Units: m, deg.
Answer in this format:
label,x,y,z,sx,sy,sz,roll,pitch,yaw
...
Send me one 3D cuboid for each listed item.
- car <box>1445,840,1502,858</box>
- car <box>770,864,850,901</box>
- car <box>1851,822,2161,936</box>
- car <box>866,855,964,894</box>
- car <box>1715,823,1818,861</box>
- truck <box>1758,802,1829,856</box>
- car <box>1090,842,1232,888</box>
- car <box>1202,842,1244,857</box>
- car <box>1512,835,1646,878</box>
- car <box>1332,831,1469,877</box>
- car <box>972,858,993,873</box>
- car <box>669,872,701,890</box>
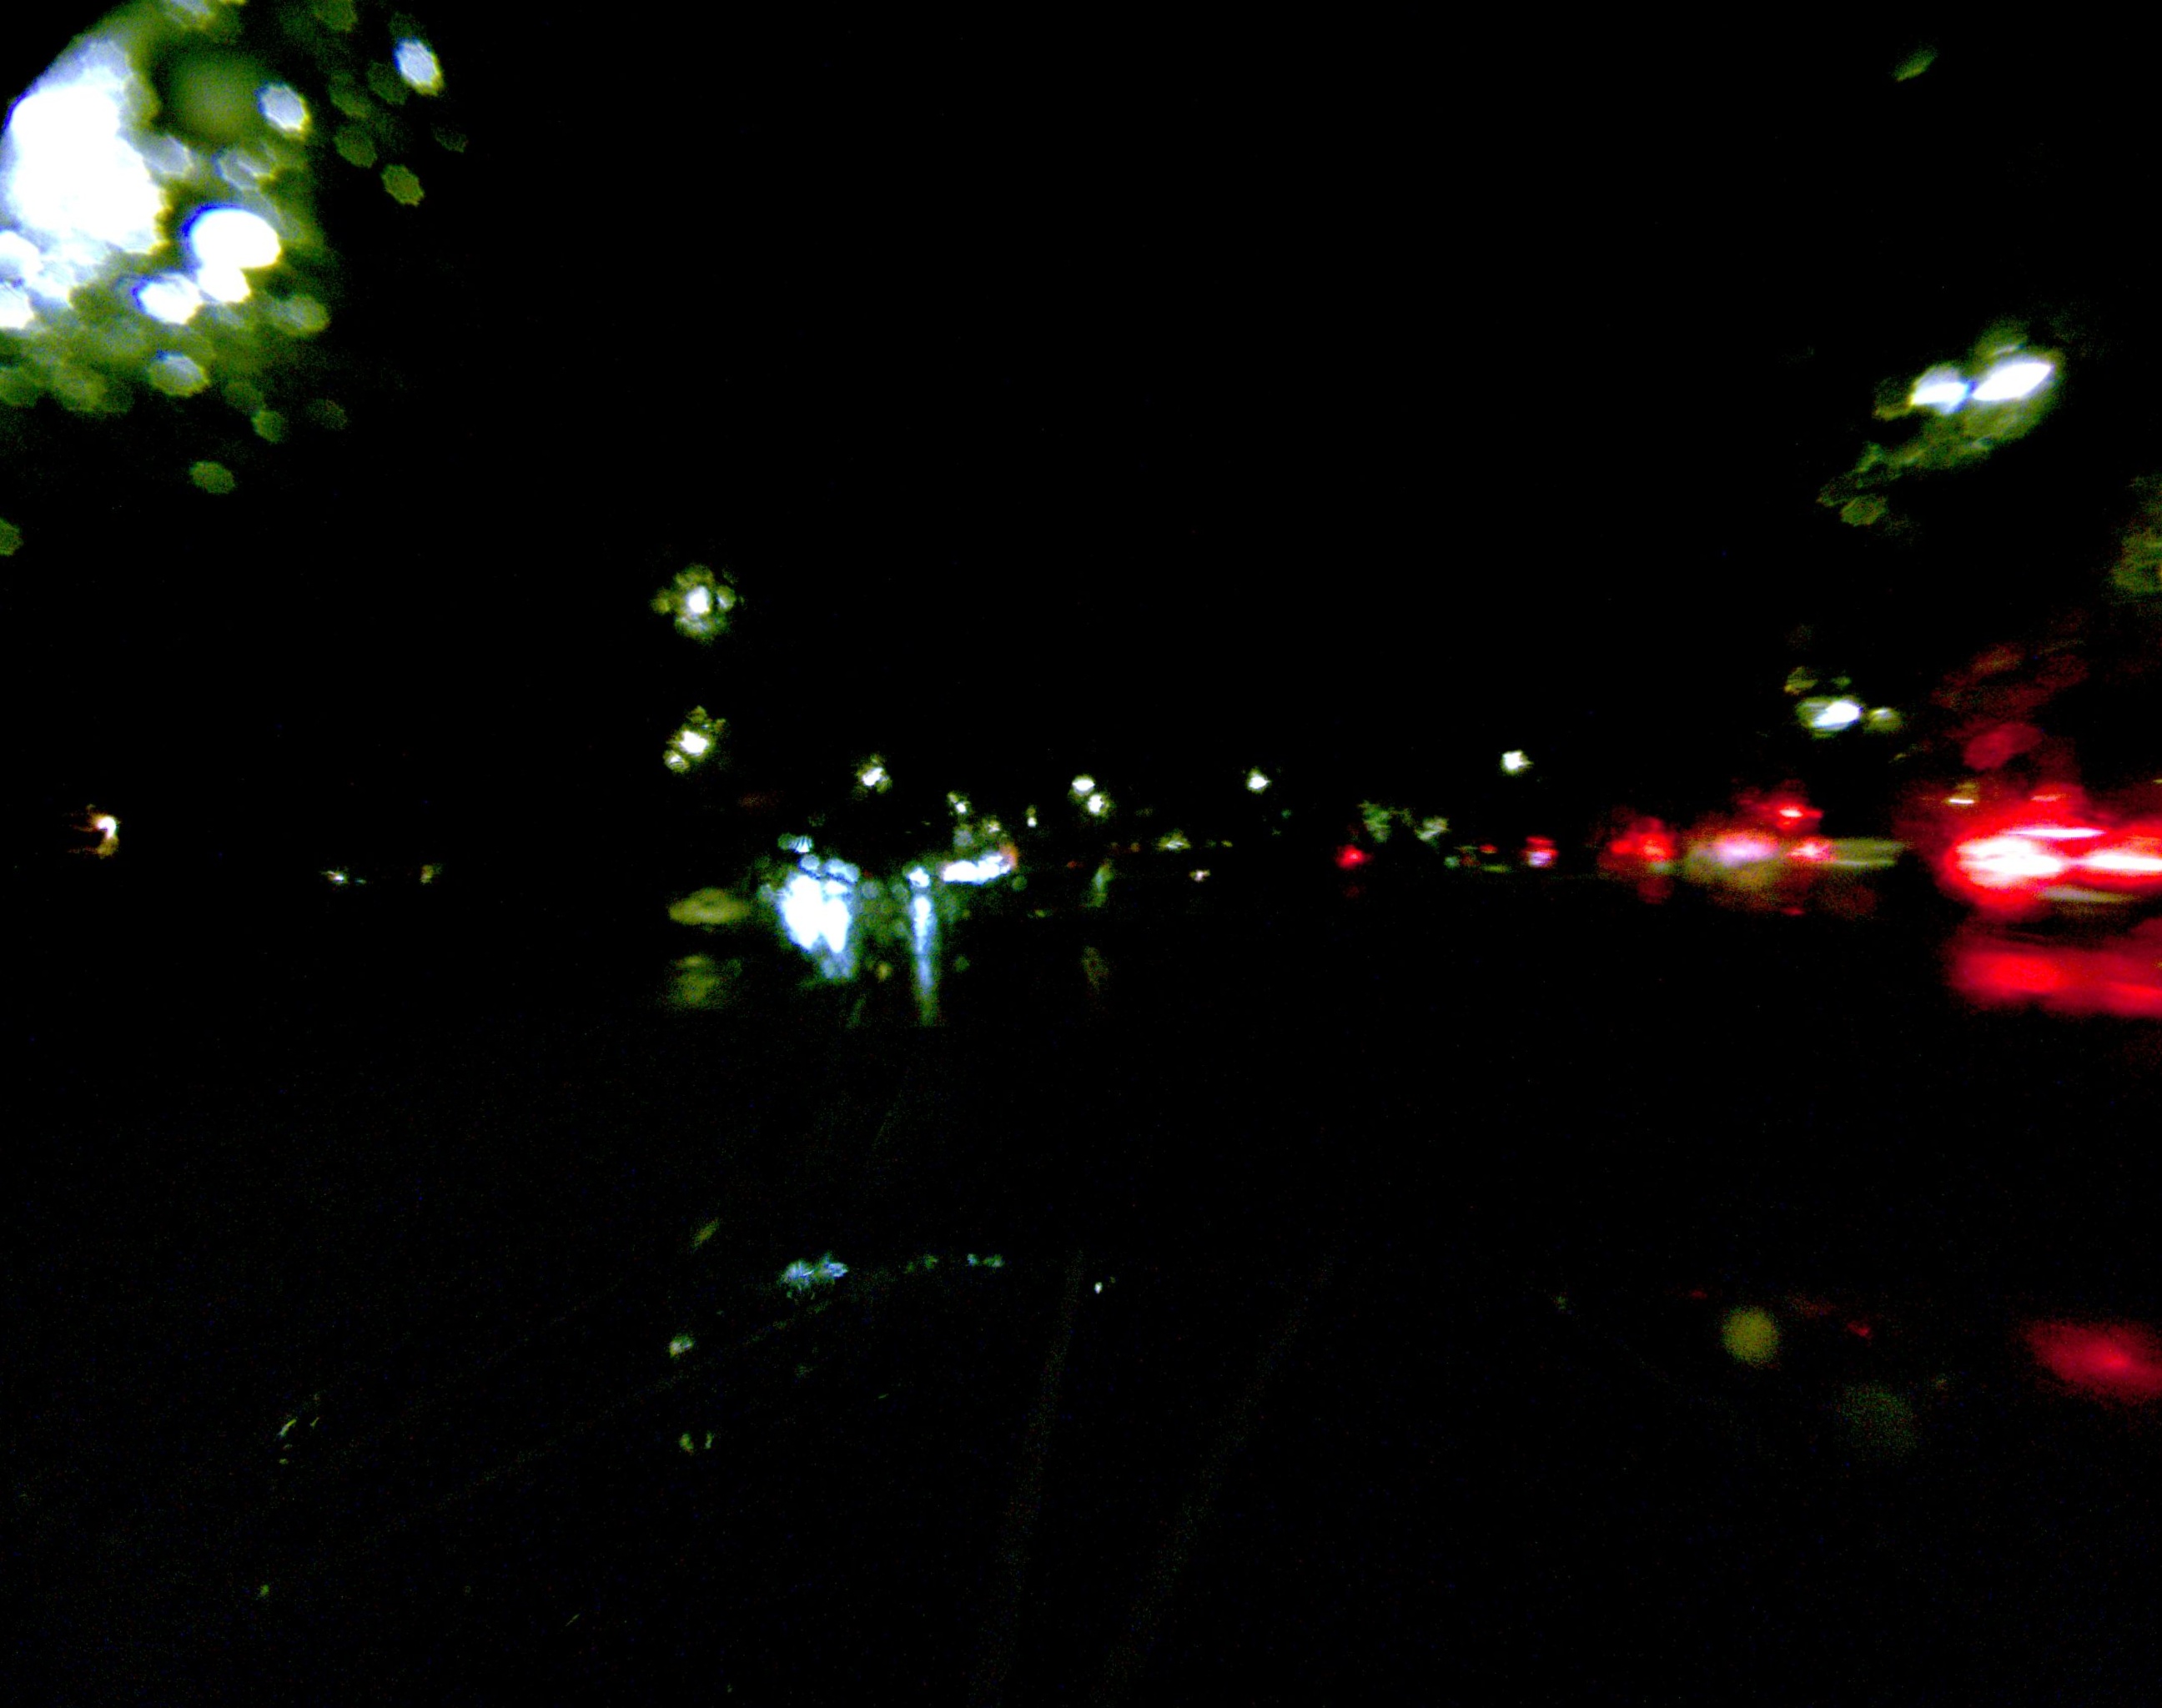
label,x,y,z,sx,sy,sz,roll,pitch,yaw
car,36.143,-0.422,69.963,2.004,1.457,4.174,-2,0,-41
car,-12.055,1.221,33.553,2.003,1.457,5.086,-2,0,-35
car,15.654,0.325,13.112,2.064,1.612,4.641,-1,1,29
car,-7.584,0.931,34.264,2.004,1.573,5.184,-2,0,-41
car,29.434,-0.508,32.616,4.192,1.524,1.995,-2,1,-29
truck,35.343,-1.215,37.584,2.316,2.383,7.828,-1,1,45
car,2.770,0.388,26.640,4.628,1.457,1.650,-2,0,28
car,14.787,-0.451,79.428,4.180,1.457,2.001,-2,0,7
car,19.434,0.091,29.711,4.186,1.524,1.998,-2,1,-11
car,12.072,-0.009,29.007,4.426,1.612,2.001,-1,1,6
car,-12.179,1.411,94.606,1.998,1.744,4.000,-1,1,1
car,-50.435,3.444,96.875,1.999,2.002,3.999,-1,1,-3
